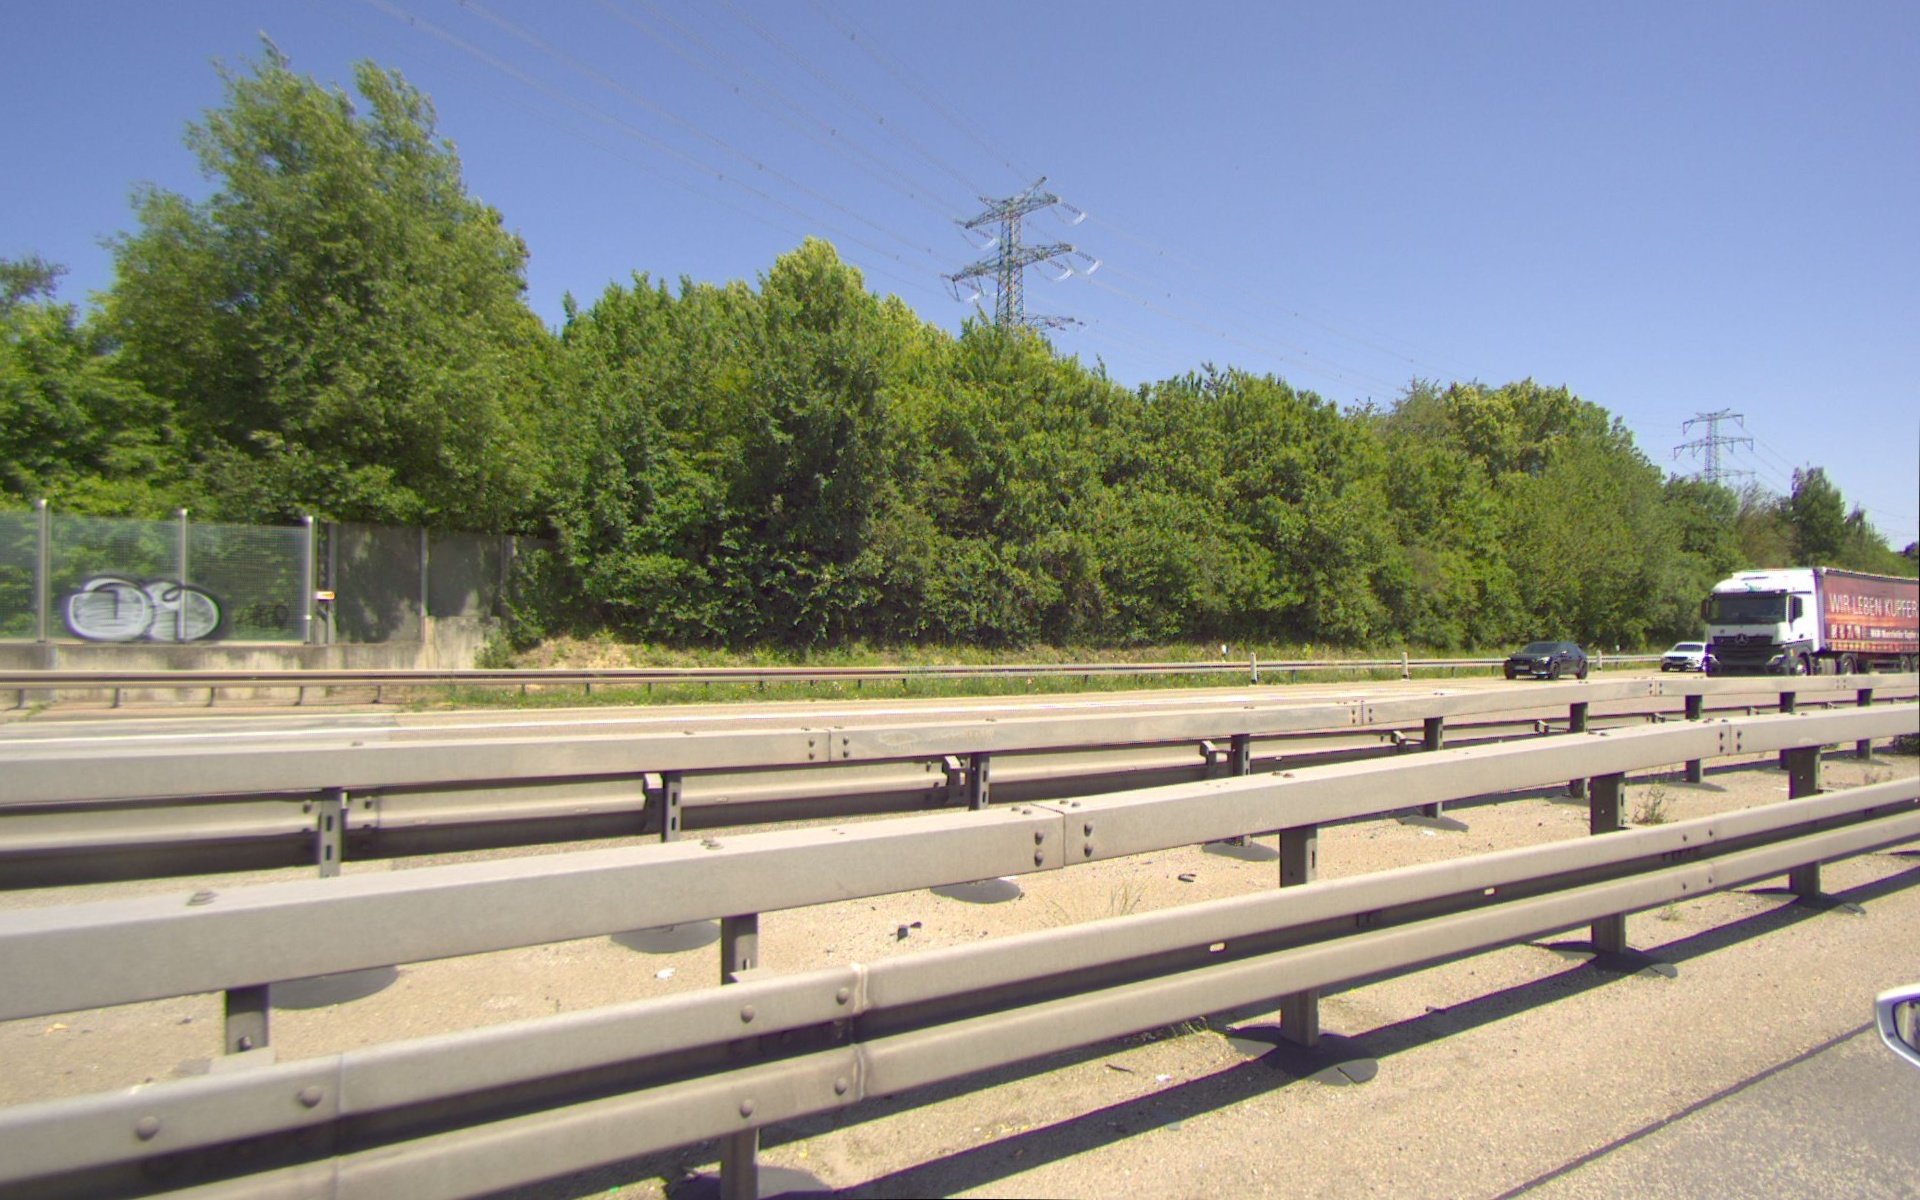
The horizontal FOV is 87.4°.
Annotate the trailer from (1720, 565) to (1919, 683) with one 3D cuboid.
[{"bbox_3d":[34.727,0.977,39.265,14.511,4.028,2.750,1,-2,-31],"label":"trailer"}]

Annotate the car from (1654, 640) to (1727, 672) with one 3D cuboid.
[{"bbox_3d":[37.590,2.885,51.668,4.301,1.475,1.675,2,0,-34],"label":"car"}]

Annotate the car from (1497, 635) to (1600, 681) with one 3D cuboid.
[{"bbox_3d":[23.607,2.289,40.204,5.234,1.597,1.976,2,0,-41],"label":"car"}]

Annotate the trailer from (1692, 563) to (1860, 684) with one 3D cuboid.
[{"bbox_3d":[29.323,0.866,36.043,6.060,4.028,2.744,1,-2,-31],"label":"trailer"}]
